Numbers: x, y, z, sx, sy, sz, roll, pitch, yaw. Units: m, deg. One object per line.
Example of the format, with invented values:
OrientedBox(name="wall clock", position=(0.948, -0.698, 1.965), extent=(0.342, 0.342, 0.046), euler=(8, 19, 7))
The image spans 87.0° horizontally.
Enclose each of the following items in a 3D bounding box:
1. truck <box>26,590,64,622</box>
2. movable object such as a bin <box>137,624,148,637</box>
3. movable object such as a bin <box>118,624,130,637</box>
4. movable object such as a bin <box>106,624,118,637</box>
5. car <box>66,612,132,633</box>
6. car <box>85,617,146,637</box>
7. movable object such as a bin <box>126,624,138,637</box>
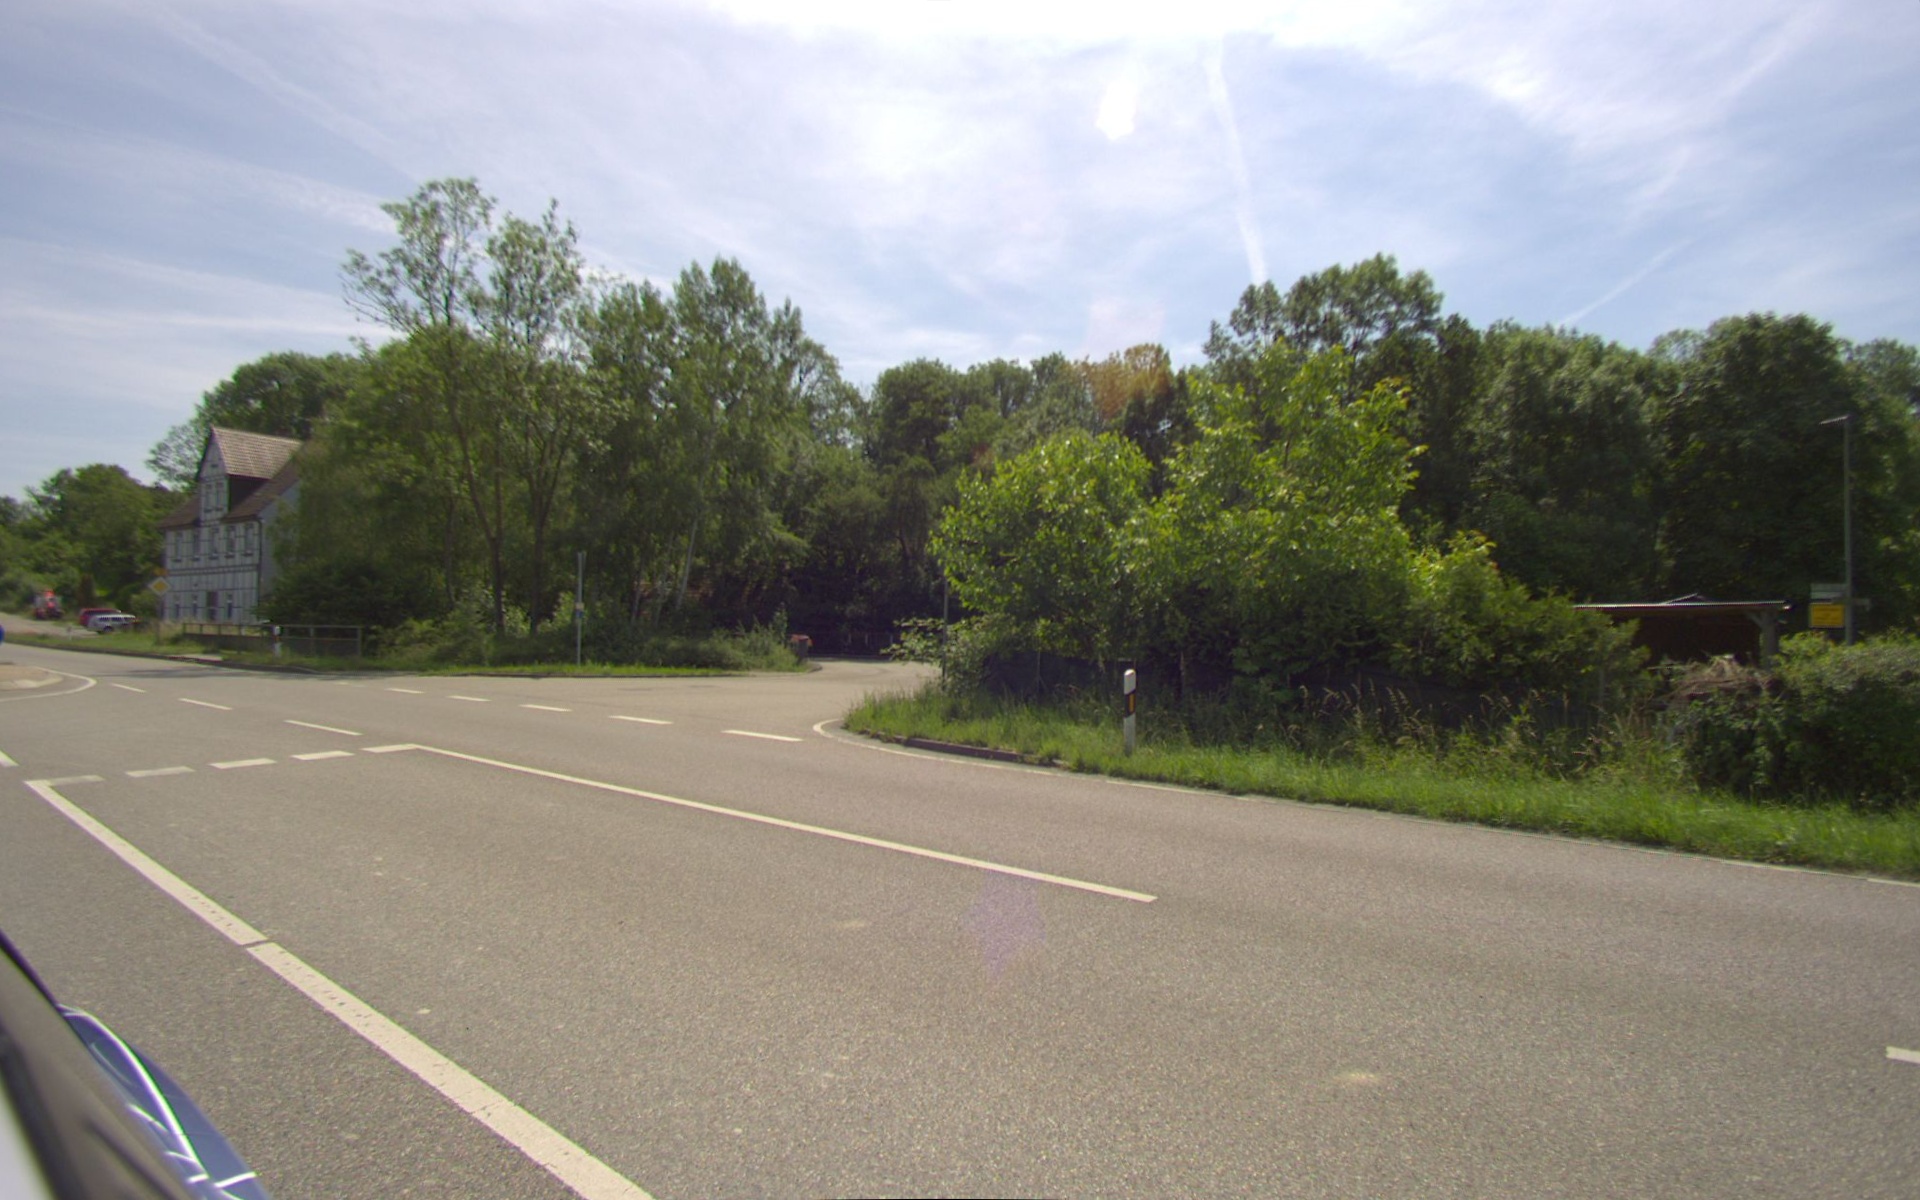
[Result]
OrientedBox(name="truck", position=(-89.711, 0.582, 99.173), extent=(6.770, 2.986, 2.005), euler=(1, 1, 41))
OrientedBox(name="movable object such as a bin", position=(-63.341, 2.332, 78.402), extent=(0.652, 0.983, 0.499), euler=(1, 0, 32))
OrientedBox(name="movable object such as a bin", position=(-63.873, 2.338, 77.294), extent=(0.652, 0.977, 0.499), euler=(1, 0, 32))
OrientedBox(name="movable object such as a bin", position=(-64.383, 2.333, 76.837), extent=(0.652, 0.943, 0.499), euler=(1, 0, 32))
OrientedBox(name="car", position=(-73.247, 1.890, 86.125), extent=(1.832, 1.631, 3.986), euler=(1, 0, 40))
OrientedBox(name="car", position=(-66.022, 2.117, 79.129), extent=(1.606, 1.476, 3.349), euler=(0, 0, 33))
OrientedBox(name="movable object such as a bin", position=(-63.633, 2.334, 77.789), extent=(0.652, 0.978, 0.499), euler=(1, 0, 32))
